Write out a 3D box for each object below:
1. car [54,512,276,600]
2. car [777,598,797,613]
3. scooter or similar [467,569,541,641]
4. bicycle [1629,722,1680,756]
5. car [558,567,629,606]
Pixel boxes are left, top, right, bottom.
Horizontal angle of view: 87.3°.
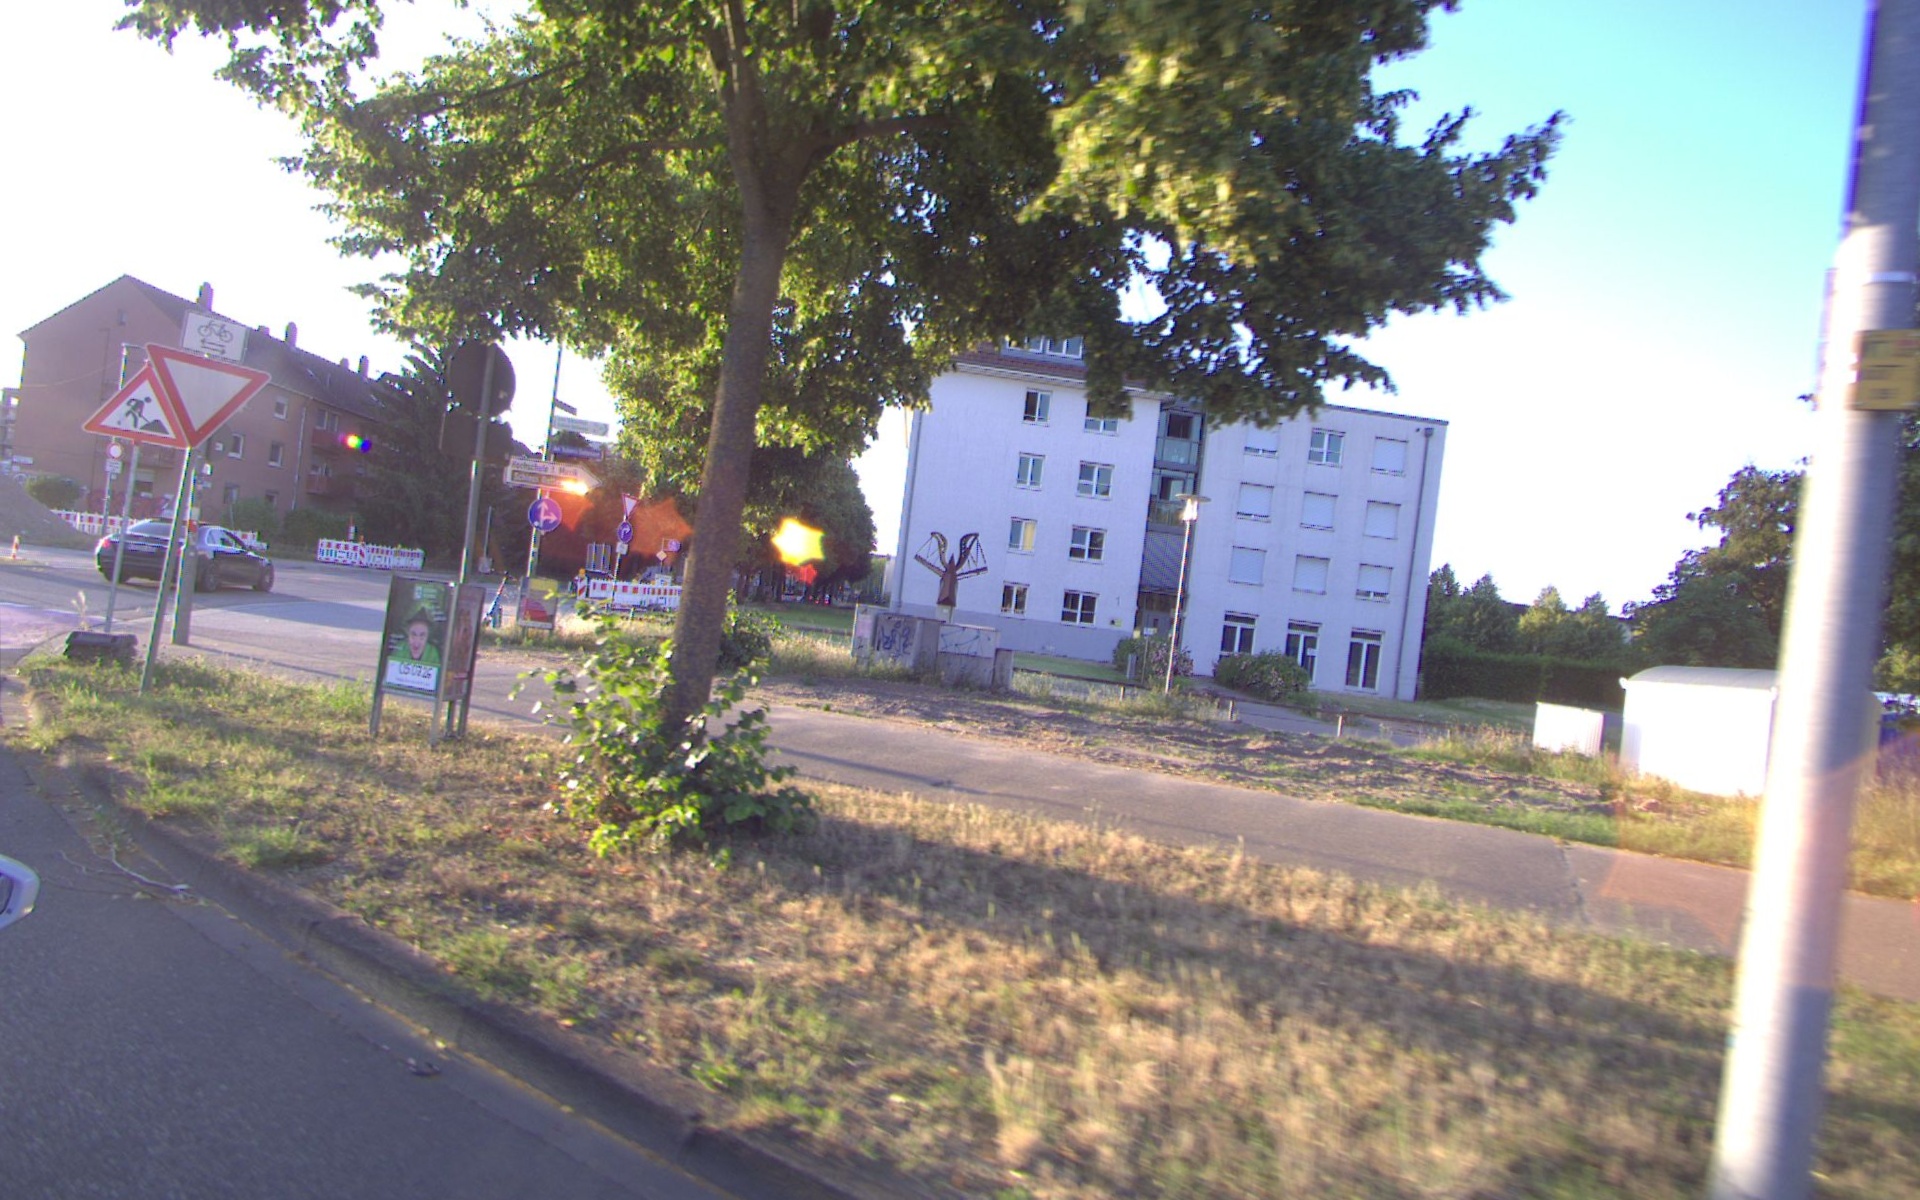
[{"bbox_3d":[-16.846,-0.861,21.648,1.927,1.444,4.418,8,-1,-13],"label":"car"},{"bbox_3d":[-21.942,0.725,127.592,1.923,1.621,4.076,8,-2,-4],"label":"car"},{"bbox_3d":[-8.795,0.111,19.432,0.435,1.253,1.120,7,-1,36],"label":"scooter or similar"},{"bbox_3d":[25.354,5.069,36.775,0.398,0.890,1.847,7,1,-3],"label":"bicycle"},{"bbox_3d":[-18.547,-0.672,51.067,1.922,1.622,4.075,9,1,0],"label":"car"}]
